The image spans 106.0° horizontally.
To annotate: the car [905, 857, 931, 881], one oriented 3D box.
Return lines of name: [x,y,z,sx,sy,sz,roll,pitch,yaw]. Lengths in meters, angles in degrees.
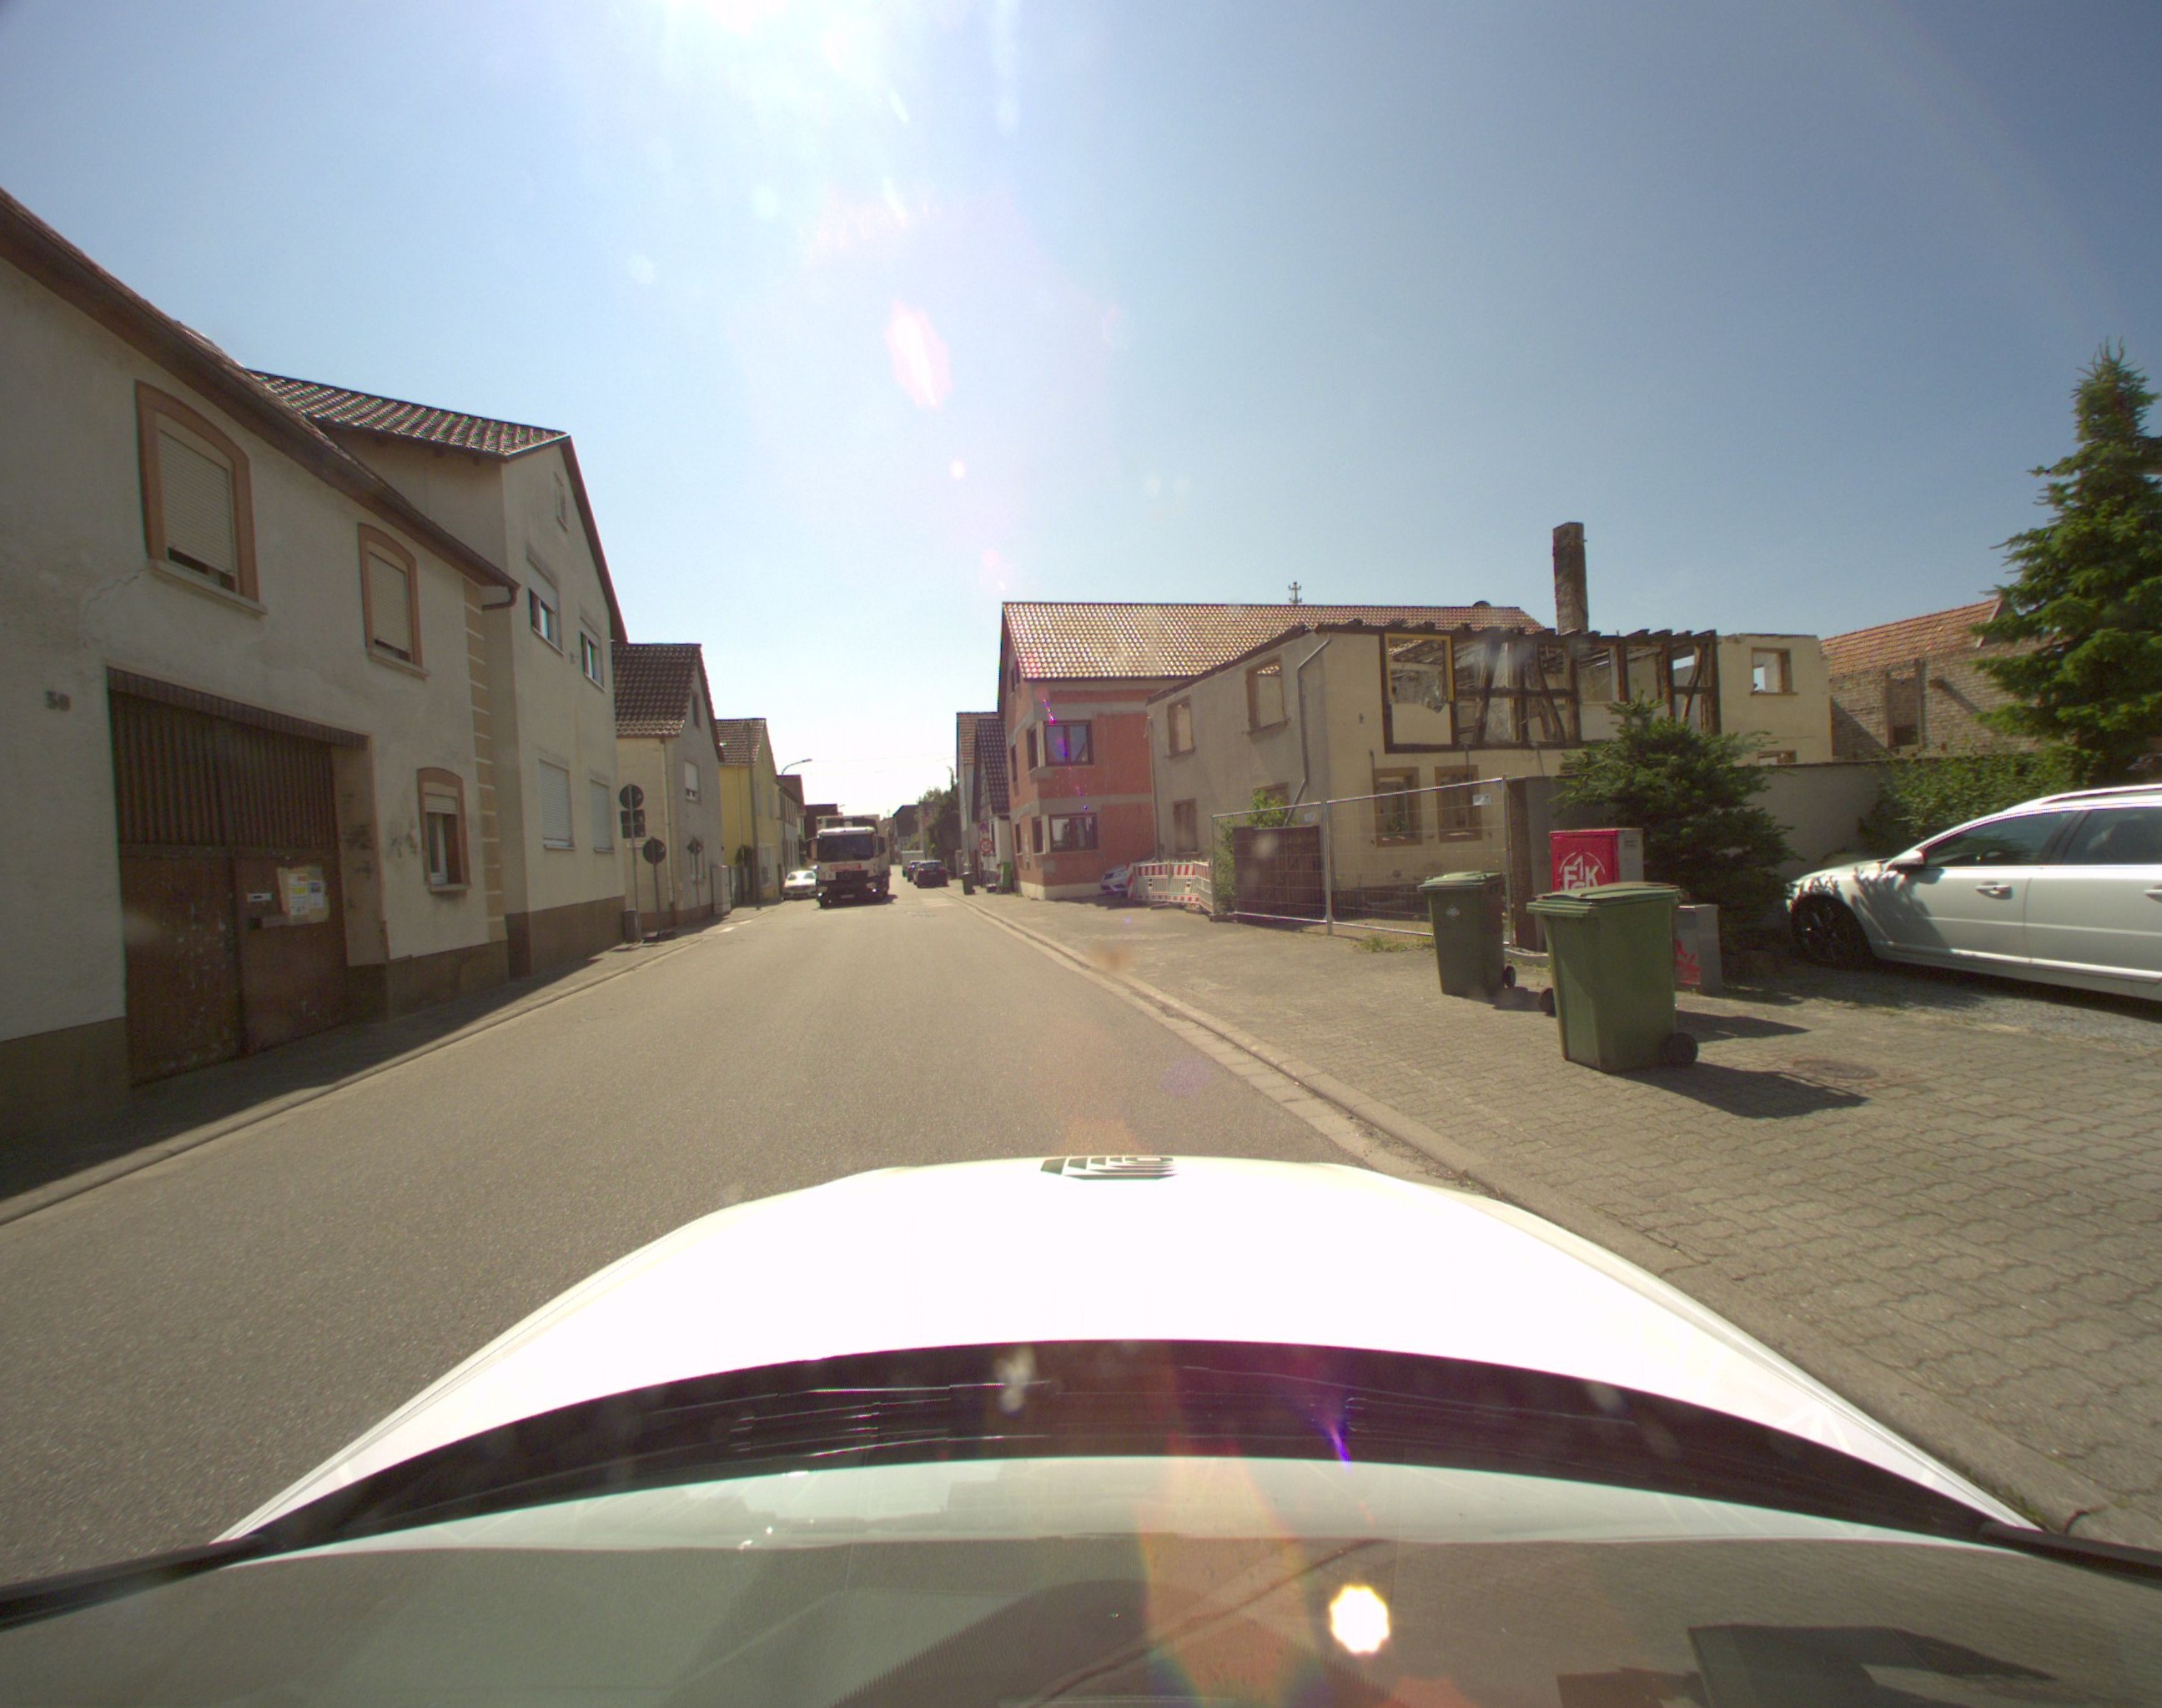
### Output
car: [-13.093,1.175,65.578,1.794,1.630,4.346,-4,1,-10]

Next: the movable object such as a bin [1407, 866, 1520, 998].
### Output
movable object such as a bin: [3.487,0.677,7.416,0.664,1.072,0.766,-3,1,44]

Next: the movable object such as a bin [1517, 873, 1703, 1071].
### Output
movable object such as a bin: [3.292,0.697,5.115,0.685,1.092,0.636,-4,1,-5]

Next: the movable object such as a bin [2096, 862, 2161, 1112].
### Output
movable object such as a bin: [5.151,0.584,3.470,0.720,1.081,0.753,-4,1,-9]

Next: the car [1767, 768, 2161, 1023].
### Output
car: [7.430,0.179,5.630,1.803,1.528,4.299,-4,1,2]

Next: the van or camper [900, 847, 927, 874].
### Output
van or camper: [-18.354,0.655,88.846,2.526,2.696,4.533,-4,0,-14]

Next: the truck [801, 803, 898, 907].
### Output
truck: [-9.913,0.054,36.075,2.696,3.750,10.833,-4,0,-9]

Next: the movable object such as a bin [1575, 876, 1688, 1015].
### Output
movable object such as a bin: [4.199,0.676,6.234,0.464,0.970,0.495,-4,1,-6]

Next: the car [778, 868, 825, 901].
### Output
car: [-14.525,1.560,42.530,1.837,1.464,4.251,-4,0,-14]

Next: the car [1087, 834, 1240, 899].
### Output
car: [2.469,0.350,24.442,4.101,1.507,1.858,-5,1,-19]

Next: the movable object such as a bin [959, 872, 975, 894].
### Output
movable object such as a bin: [-4.923,1.256,35.159,0.535,0.913,0.552,-4,0,4]

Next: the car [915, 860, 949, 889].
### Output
car: [-9.104,1.193,49.602,1.799,1.560,4.611,-4,1,-13]

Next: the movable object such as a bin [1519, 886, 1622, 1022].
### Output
movable object such as a bin: [3.723,0.740,6.215,0.444,0.949,0.461,-4,0,-5]
